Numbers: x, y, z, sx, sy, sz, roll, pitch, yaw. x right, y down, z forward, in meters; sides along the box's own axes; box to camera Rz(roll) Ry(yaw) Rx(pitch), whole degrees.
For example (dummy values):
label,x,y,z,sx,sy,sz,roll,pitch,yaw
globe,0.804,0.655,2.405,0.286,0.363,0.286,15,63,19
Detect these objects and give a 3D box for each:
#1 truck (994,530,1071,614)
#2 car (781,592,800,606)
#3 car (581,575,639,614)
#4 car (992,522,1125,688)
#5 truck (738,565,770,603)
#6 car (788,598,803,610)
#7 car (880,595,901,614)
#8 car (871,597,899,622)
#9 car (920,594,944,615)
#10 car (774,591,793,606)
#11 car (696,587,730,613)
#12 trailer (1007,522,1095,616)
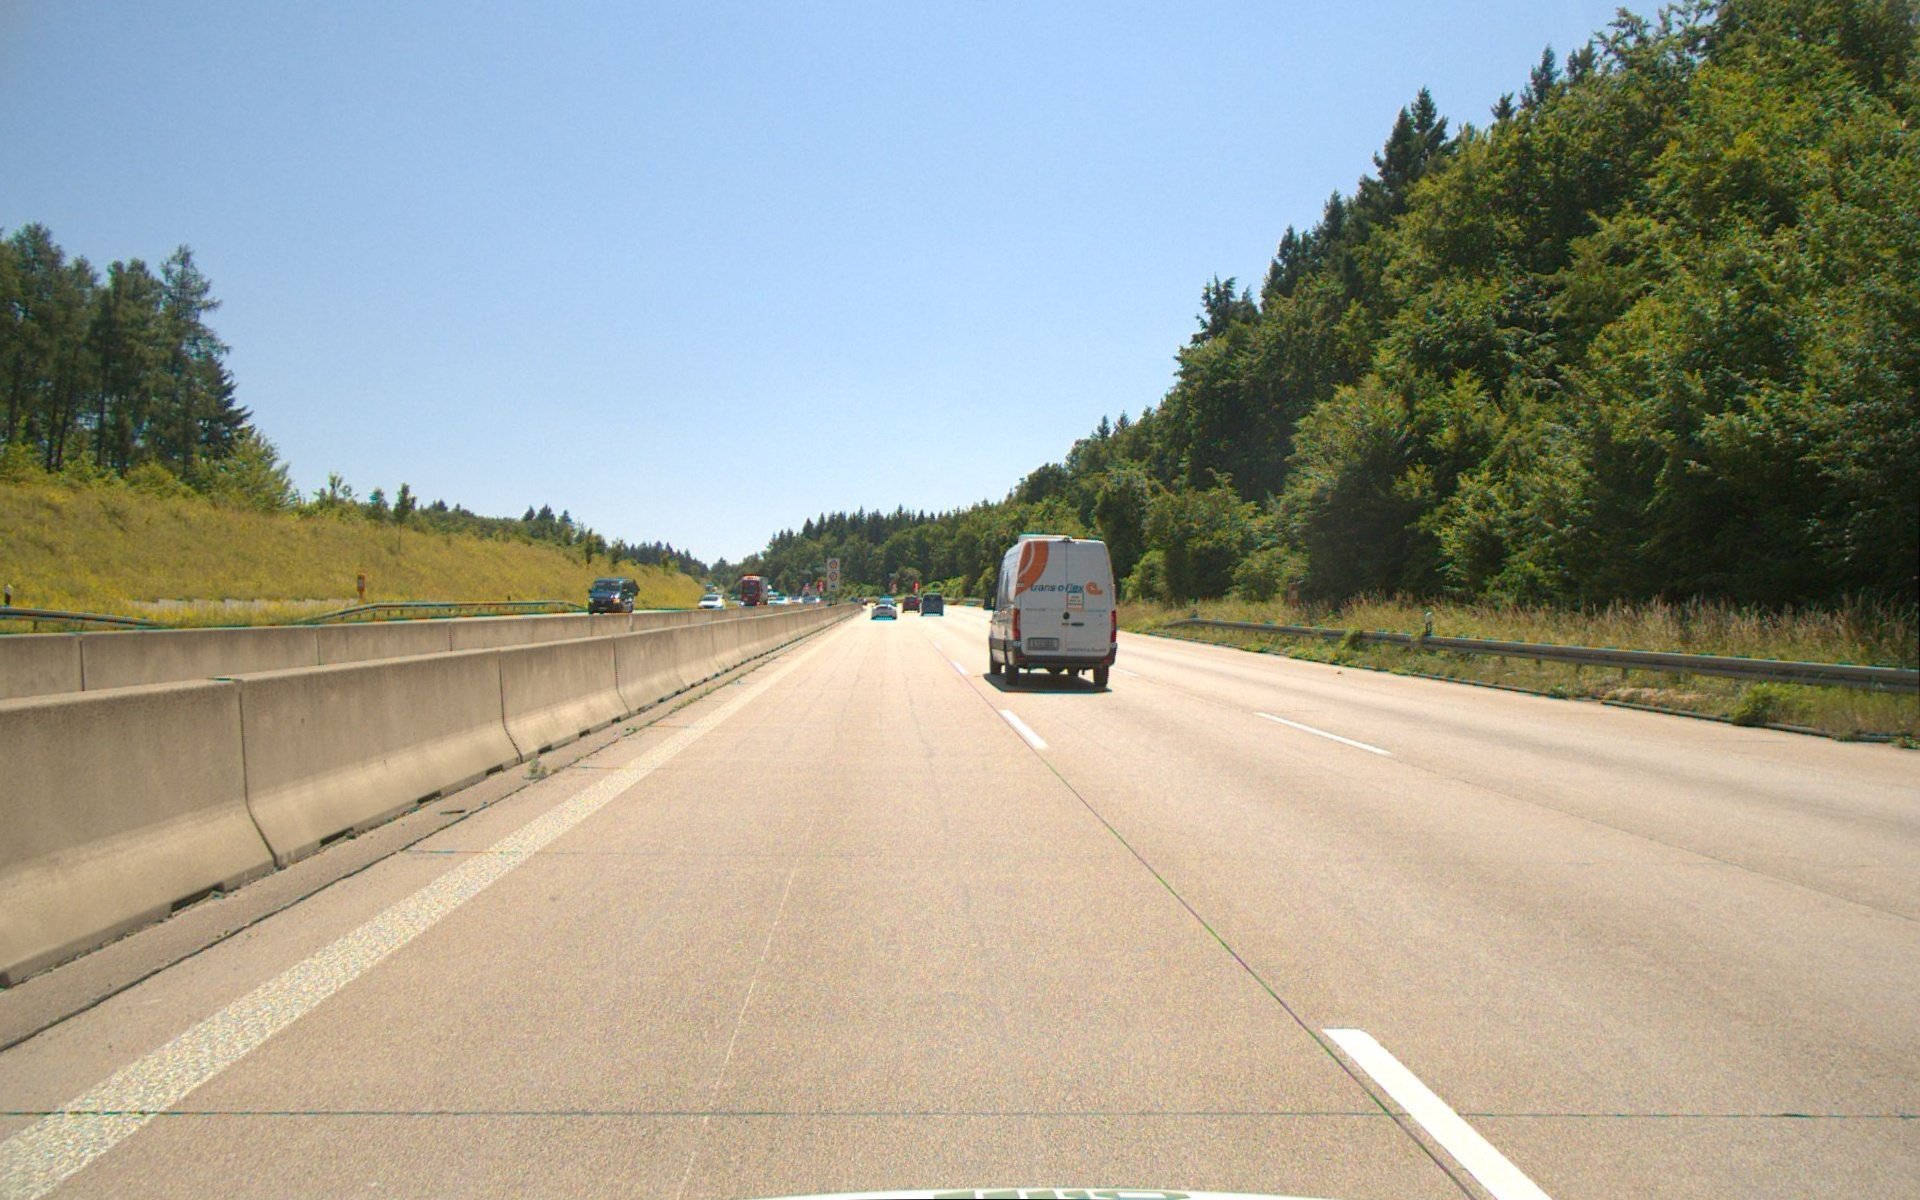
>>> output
label,x,y,z,sx,sy,sz,roll,pitch,yaw
truck,3.698,-1.416,87.137,3.096,4.087,10.602,-1,0,-2
car,-20.209,-0.107,196.962,1.953,1.586,4.496,0,0,-2
car,-21.724,-0.352,102.792,2.431,2.248,6.456,1,0,-2
car,1.788,0.051,31.904,2.181,2.893,5.454,-1,1,0
truck,-25.594,-1.950,206.064,3.319,4.509,6.797,1,0,-3
car,-23.540,0.583,236.669,1.953,1.722,4.814,1,0,-2
car,-6.463,0.414,153.296,1.954,1.713,3.998,1,0,-3
car,-5.415,0.691,119.070,1.954,1.713,3.997,1,0,-3
car,-2.387,0.415,140.584,1.953,1.713,3.999,1,0,-2
car,-20.503,-0.189,192.246,1.954,1.591,3.998,1,0,-3
car,-18.395,0.006,123.209,1.968,1.839,4.851,1,0,-2
trailer,4.154,-1.374,77.299,3.072,4.087,9.082,-1,0,-3
